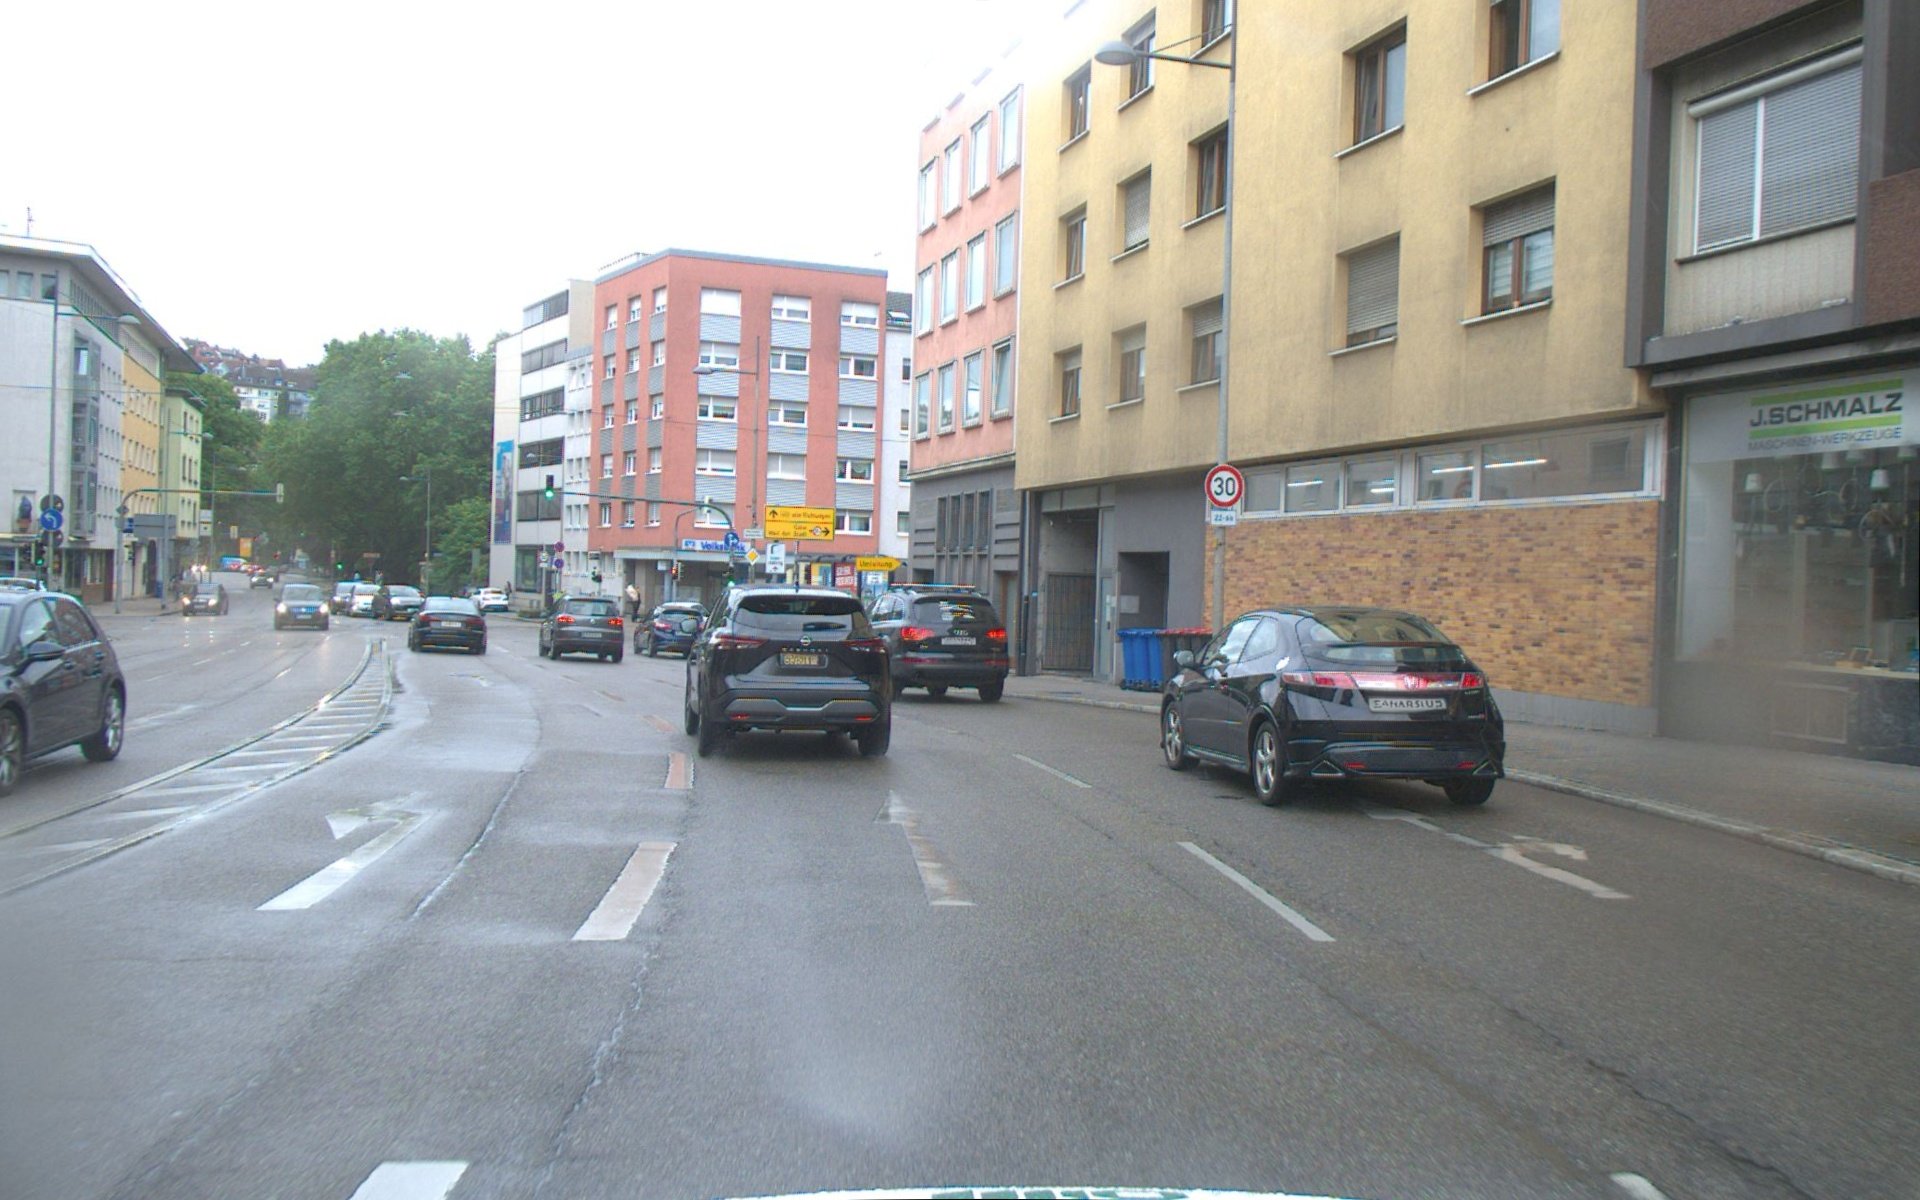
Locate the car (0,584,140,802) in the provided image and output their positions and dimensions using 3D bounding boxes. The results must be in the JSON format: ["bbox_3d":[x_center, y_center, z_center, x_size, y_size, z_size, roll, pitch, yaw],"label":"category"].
[{"bbox_3d":[-7.743,0.642,12.707,1.654,1.498,3.987,-1,0,-13],"label":"car"}]

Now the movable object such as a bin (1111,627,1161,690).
[{"bbox_3d":[3.173,1.052,29.836,0.670,1.095,0.664,2,-1,-19],"label":"movable object such as a bin"}]

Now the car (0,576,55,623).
[{"bbox_3d":[-38.305,-0.085,65.441,1.652,1.735,3.988,3,-1,33],"label":"car"}]

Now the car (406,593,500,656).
[{"bbox_3d":[-13.525,0.613,43.974,1.965,1.412,4.471,4,0,-22],"label":"car"}]

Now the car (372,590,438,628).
[{"bbox_3d":[-25.067,0.397,74.654,1.839,1.580,4.178,2,0,-33],"label":"car"}]

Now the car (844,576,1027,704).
[{"bbox_3d":[-0.516,0.586,27.102,1.987,1.902,4.882,0,0,-14],"label":"car"}]

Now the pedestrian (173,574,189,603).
[{"bbox_3d":[-45.407,-0.669,96.425,0.676,1.609,0.648,4,-1,-20],"label":"pedestrian"}]

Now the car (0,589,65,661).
[{"bbox_3d":[-22.182,0.549,38.077,1.878,1.581,4.608,1,0,-17],"label":"car"}]

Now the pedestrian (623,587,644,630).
[{"bbox_3d":[-16.958,0.439,85.883,0.813,2.196,0.765,4,-1,-21],"label":"pedestrian"}]

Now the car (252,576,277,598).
[{"bbox_3d":[-66.037,-1.239,157.059,1.965,1.892,3.975,4,0,-21],"label":"car"}]

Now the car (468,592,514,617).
[{"bbox_3d":[-29.109,0.283,102.655,1.755,1.425,4.535,0,1,-29],"label":"car"}]

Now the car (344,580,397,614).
[{"bbox_3d":[-28.186,-0.133,79.025,1.911,1.553,4.099,1,-1,-26],"label":"car"}]

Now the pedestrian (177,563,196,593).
[{"bbox_3d":[-48.464,-1.381,103.599,0.853,1.819,0.869,5,-1,-21],"label":"pedestrian"}]

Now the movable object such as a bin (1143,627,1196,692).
[{"bbox_3d":[3.610,1.027,28.528,0.670,1.095,0.664,2,-1,-19],"label":"movable object such as a bin"}]

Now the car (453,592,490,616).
[{"bbox_3d":[-32.038,0.235,108.390,1.693,1.467,4.048,0,1,-26],"label":"car"}]

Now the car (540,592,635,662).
[{"bbox_3d":[-9.720,0.660,42.994,1.917,1.714,3.976,0,0,-20],"label":"car"}]

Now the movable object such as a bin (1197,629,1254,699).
[{"bbox_3d":[4.266,1.030,26.591,0.670,1.095,0.664,2,-1,-19],"label":"movable object such as a bin"}]

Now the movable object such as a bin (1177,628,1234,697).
[{"bbox_3d":[4.041,1.027,27.236,0.670,1.095,0.664,2,-1,-19],"label":"movable object such as a bin"}]

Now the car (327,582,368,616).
[{"bbox_3d":[-31.147,-0.021,84.033,1.795,1.636,4.400,1,-1,-22],"label":"car"}]

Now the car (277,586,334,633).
[{"bbox_3d":[-24.120,0.340,60.852,1.837,1.676,4.223,1,0,-23],"label":"car"}]

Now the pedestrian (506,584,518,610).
[{"bbox_3d":[-30.192,-0.212,111.429,0.607,1.767,0.673,0,0,-34],"label":"pedestrian"}]

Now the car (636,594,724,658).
[{"bbox_3d":[-8.433,0.736,49.573,1.917,1.848,3.977,0,0,-20],"label":"car"}]

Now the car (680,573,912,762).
[{"bbox_3d":[-1.771,0.615,16.665,1.861,1.657,3.987,1,0,-12],"label":"car"}]

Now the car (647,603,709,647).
[{"bbox_3d":[-10.860,0.940,63.868,1.955,1.512,3.995,4,0,-5],"label":"car"}]

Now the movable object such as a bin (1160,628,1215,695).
[{"bbox_3d":[3.827,1.026,27.886,0.670,1.095,0.664,2,-1,-19],"label":"movable object such as a bin"}]

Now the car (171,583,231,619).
[{"bbox_3d":[-36.116,0.051,78.751,1.662,1.655,3.989,1,0,-11],"label":"car"}]

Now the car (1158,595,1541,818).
[{"bbox_3d":[2.941,0.724,13.415,1.750,1.523,4.050,0,0,-7],"label":"car"}]

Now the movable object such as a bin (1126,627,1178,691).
[{"bbox_3d":[3.388,1.039,29.172,0.670,1.095,0.664,2,-1,-19],"label":"movable object such as a bin"}]

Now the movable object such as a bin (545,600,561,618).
[{"bbox_3d":[-25.178,0.553,102.243,0.706,1.087,0.775,2,0,-33],"label":"movable object such as a bin"}]
